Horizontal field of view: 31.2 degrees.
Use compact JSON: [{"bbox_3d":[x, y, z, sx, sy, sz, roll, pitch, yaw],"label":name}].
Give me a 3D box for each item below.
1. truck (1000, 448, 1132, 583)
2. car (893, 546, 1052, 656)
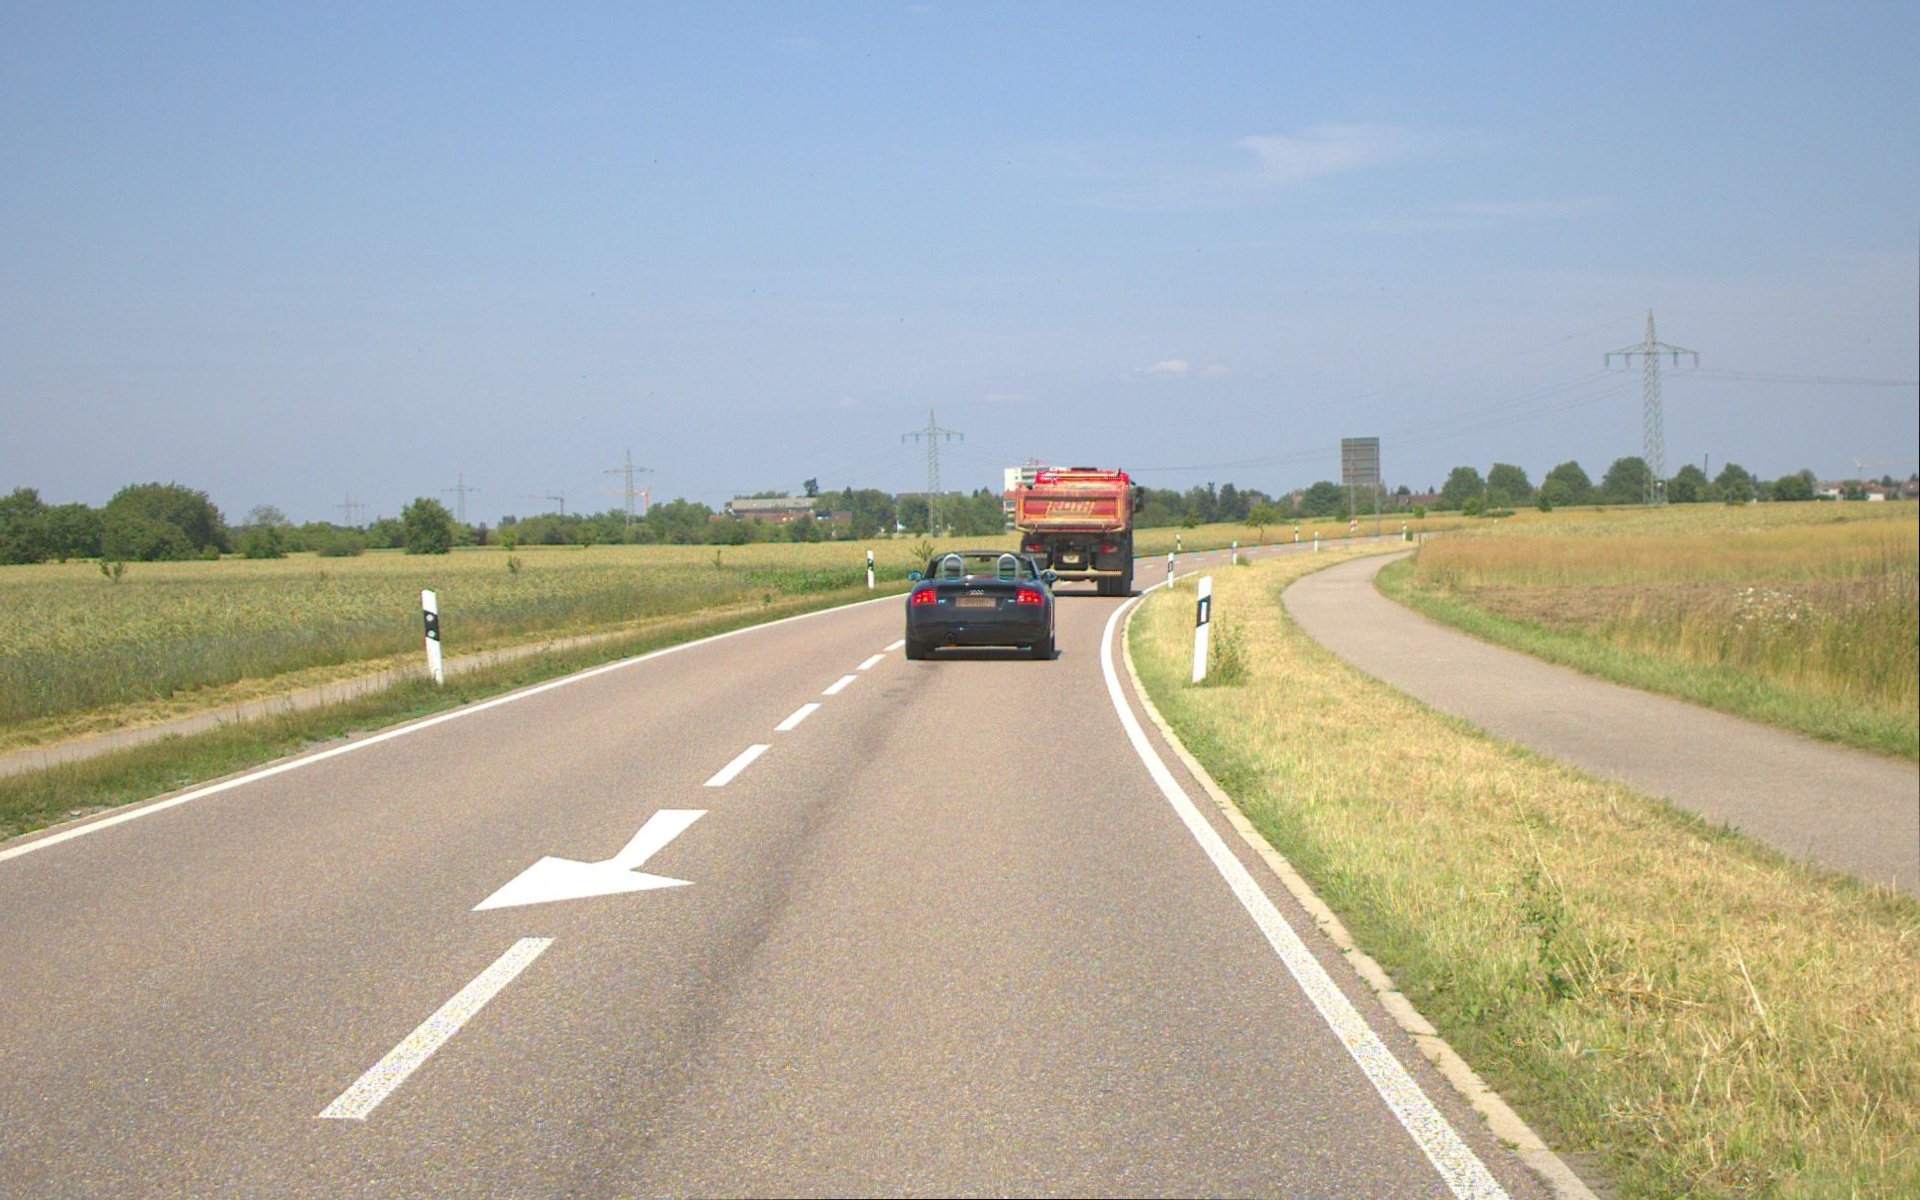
[{"bbox_3d":[2.617,-1.987,82.569,2.938,3.078,7.195,0,1,4],"label":"truck"},{"bbox_3d":[0.199,-0.016,41.998,1.744,1.275,4.000,0,1,3],"label":"car"}]
